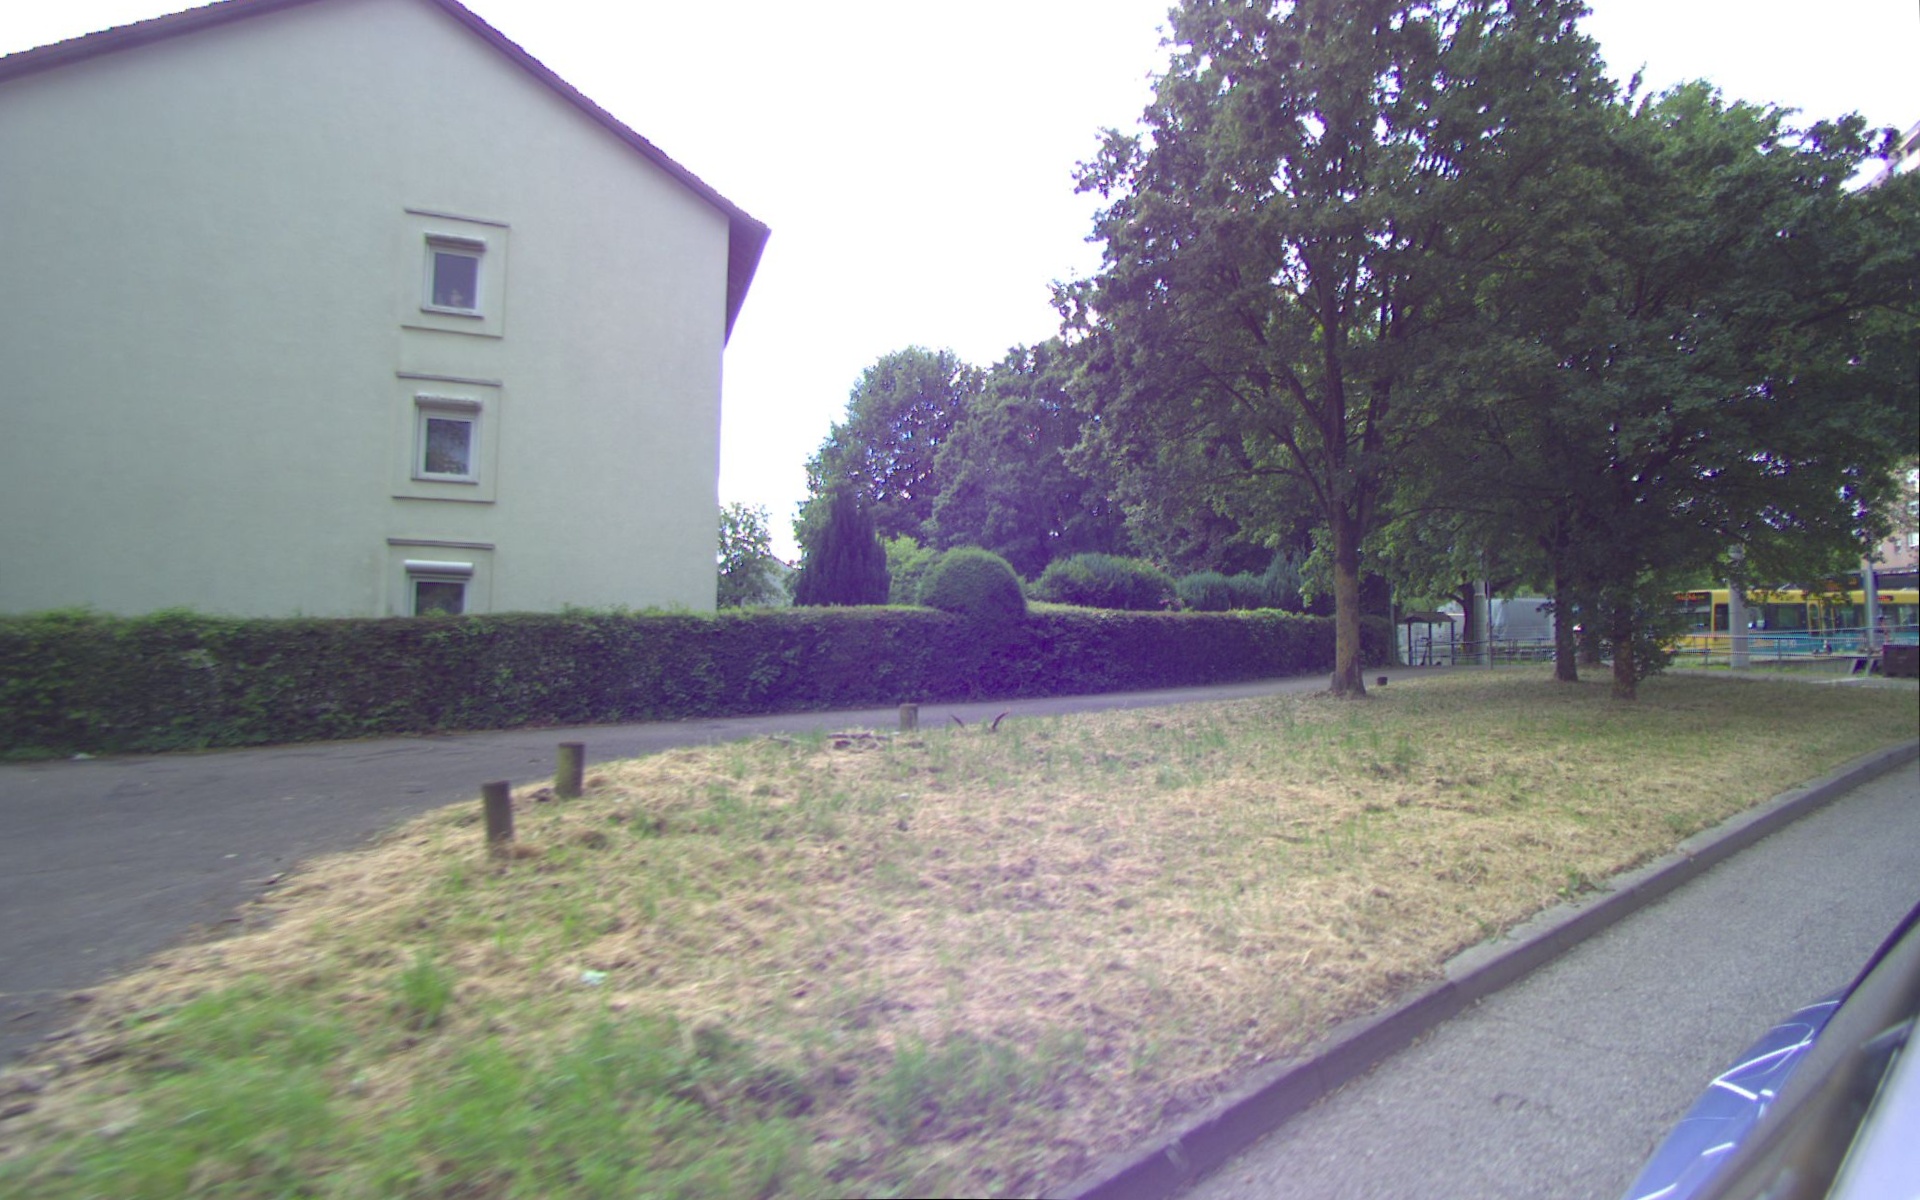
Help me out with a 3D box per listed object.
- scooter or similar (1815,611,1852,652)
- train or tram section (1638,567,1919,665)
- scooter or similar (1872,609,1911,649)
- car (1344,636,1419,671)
[{"bbox_3d":[28.345,1.023,32.845,1.229,1.269,0.431,-1,-2,-28],"label":"scooter or similar"},{"bbox_3d":[36.727,0.742,41.699,19.101,3.637,2.826,0,-5,-16],"label":"train or tram section"},{"bbox_3d":[30.223,0.938,32.834,1.229,1.269,0.432,-2,-2,-24],"label":"scooter or similar"},{"bbox_3d":[25.893,3.279,62.207,3.916,2.040,1.908,0,-2,-15],"label":"car"}]
